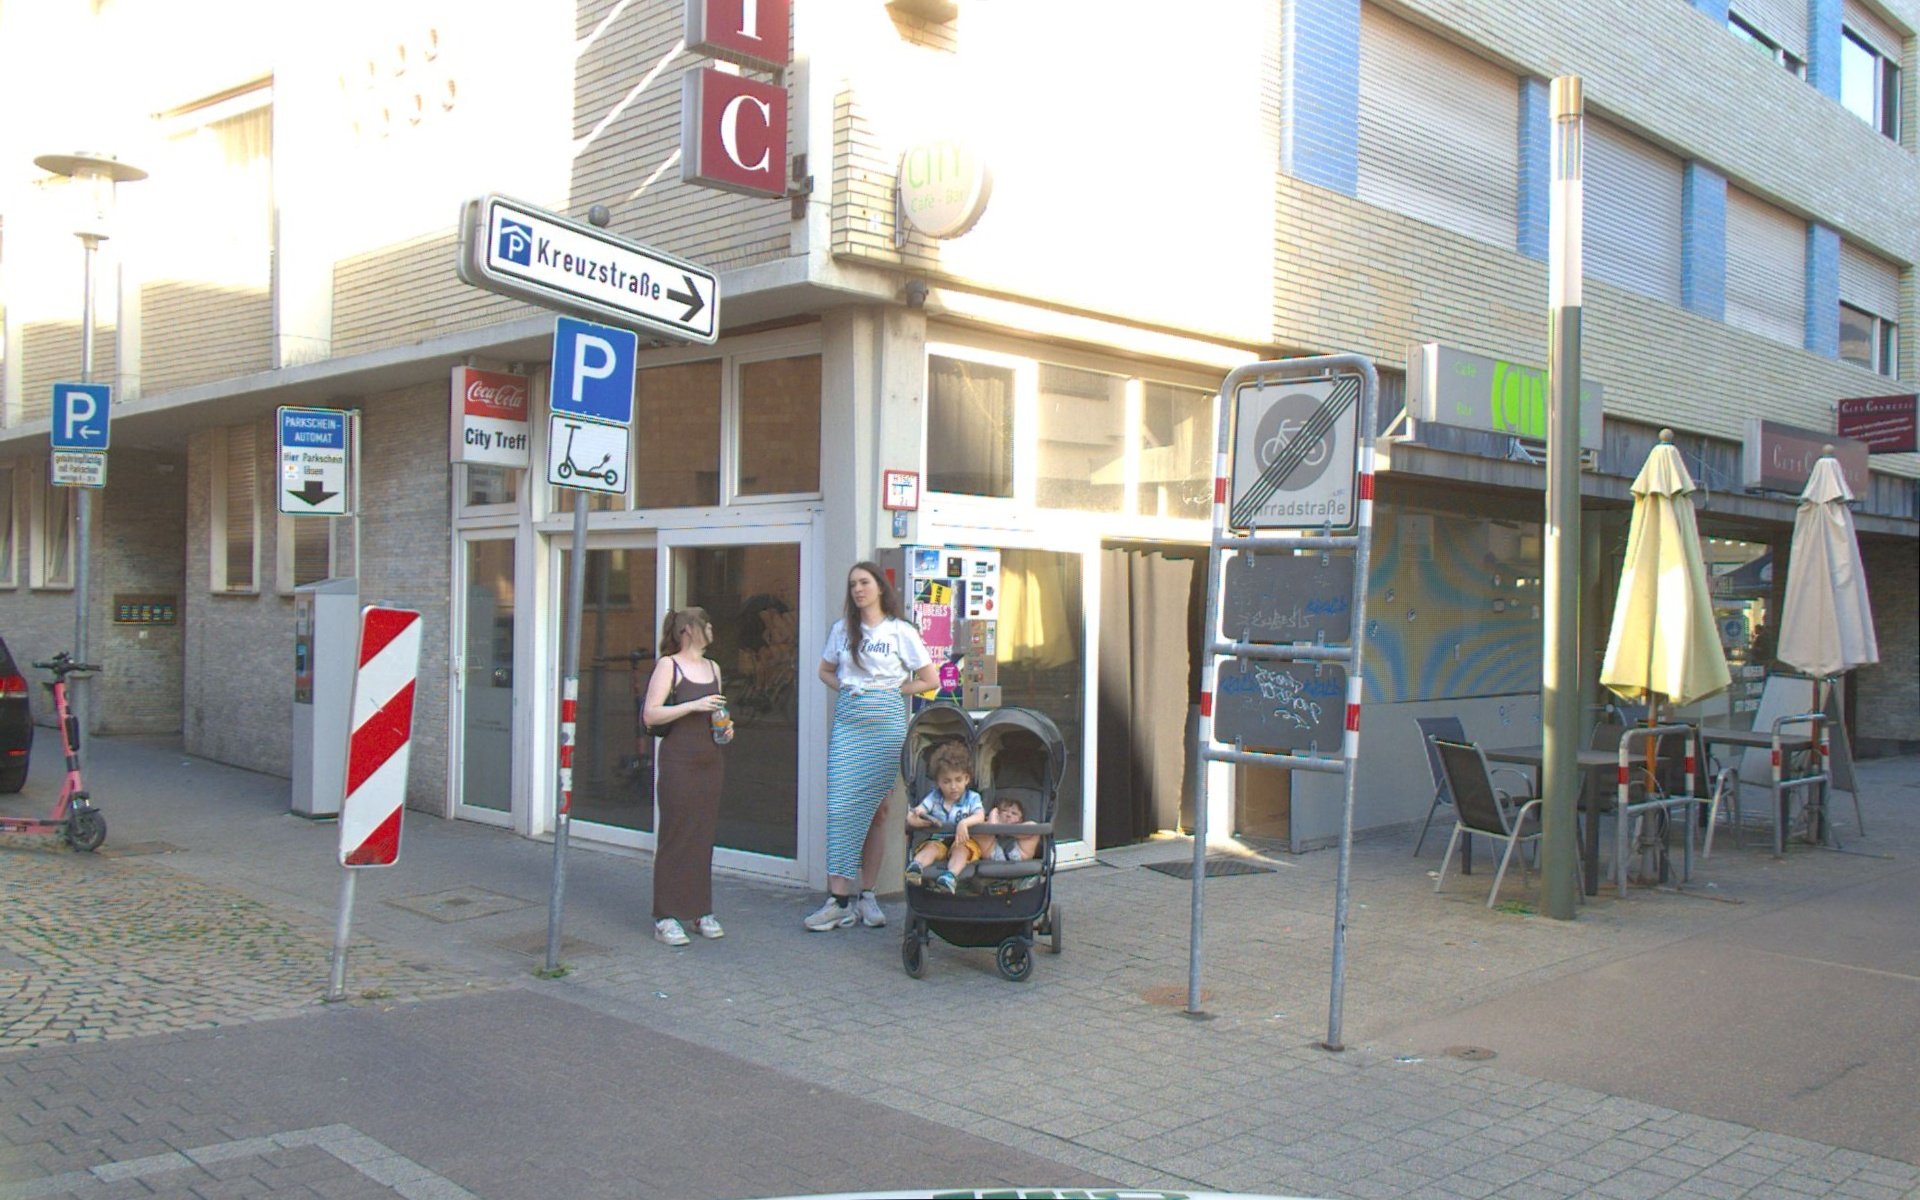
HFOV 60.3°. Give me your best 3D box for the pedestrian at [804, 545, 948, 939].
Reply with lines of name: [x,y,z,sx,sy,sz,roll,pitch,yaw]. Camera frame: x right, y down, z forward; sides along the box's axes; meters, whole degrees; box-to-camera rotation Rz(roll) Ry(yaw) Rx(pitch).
pedestrian: [-0.411,0.668,8.128,0.644,1.851,0.570,-1,1,-3]

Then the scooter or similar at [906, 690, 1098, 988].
scooter or similar: [0.159,1.014,7.312,0.780,1.164,0.953,1,0,-2]

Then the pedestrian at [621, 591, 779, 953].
pedestrian: [-1.224,0.769,7.773,0.528,1.607,0.504,-2,1,-39]

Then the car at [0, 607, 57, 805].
car: [-9.038,0.762,13.678,1.728,1.512,3.749,4,-2,-45]

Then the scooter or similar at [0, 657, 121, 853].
scooter or similar: [-5.807,0.975,10.500,0.861,1.204,0.208,1,-1,5]
